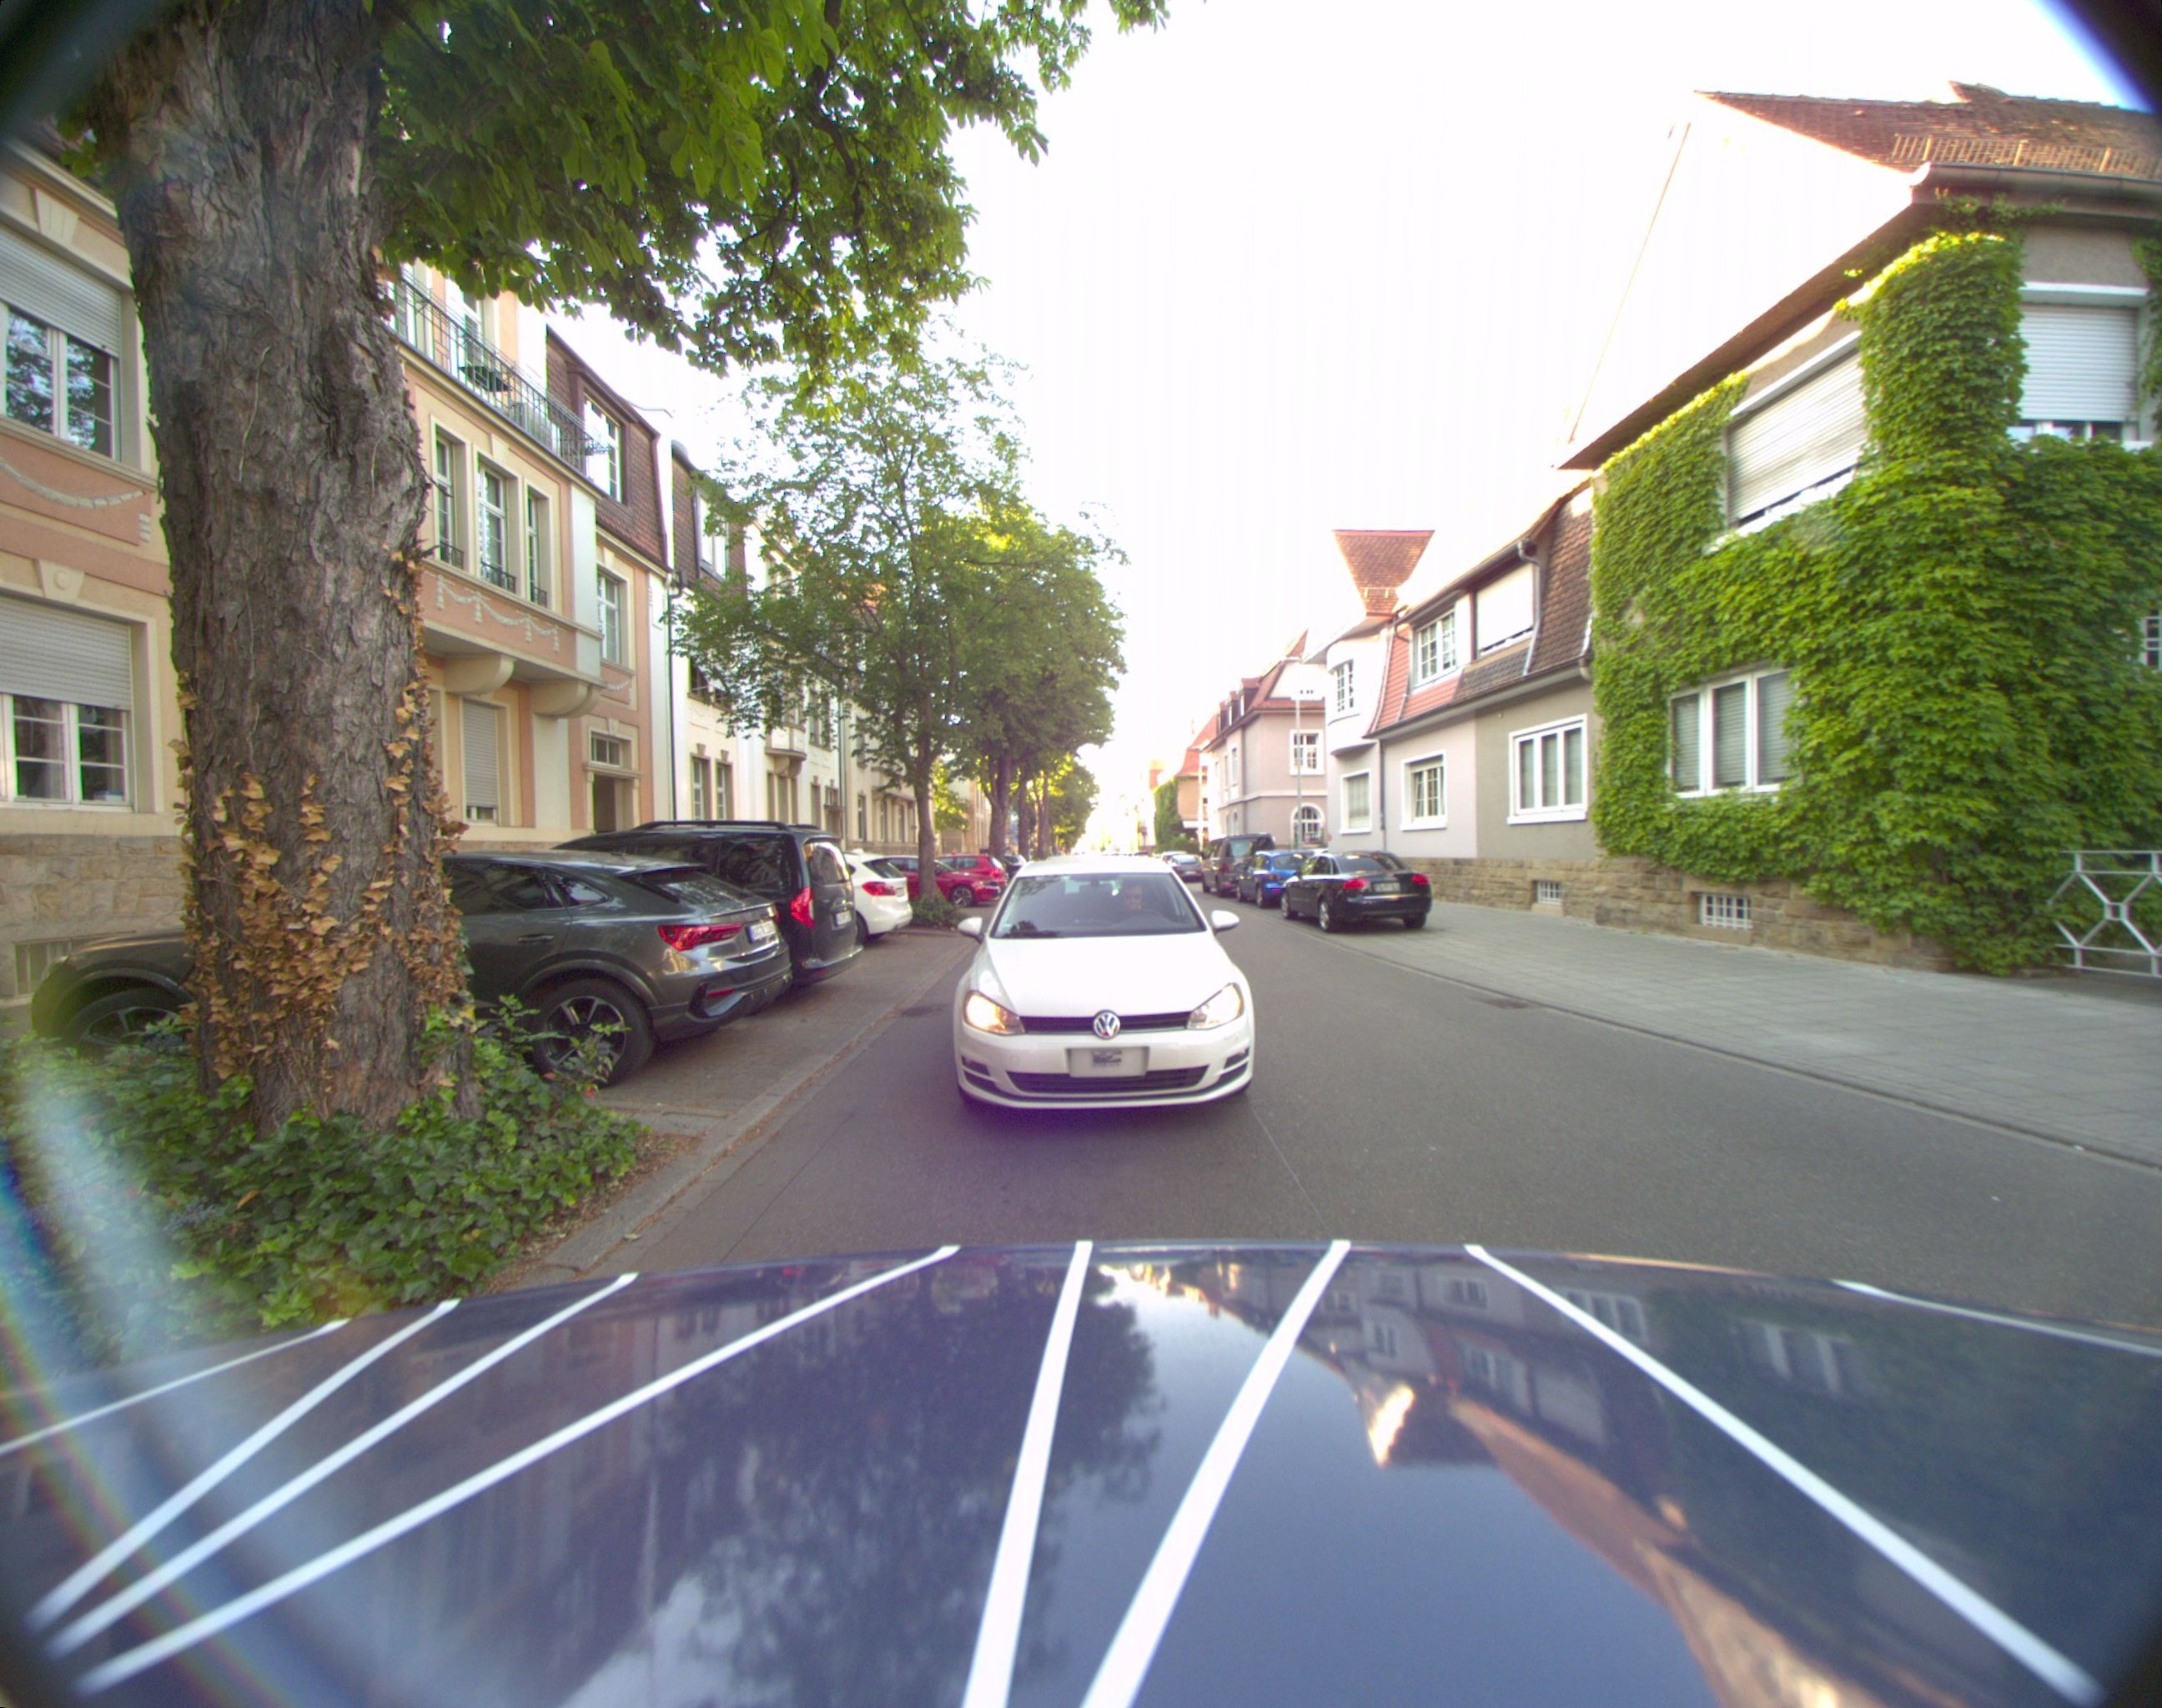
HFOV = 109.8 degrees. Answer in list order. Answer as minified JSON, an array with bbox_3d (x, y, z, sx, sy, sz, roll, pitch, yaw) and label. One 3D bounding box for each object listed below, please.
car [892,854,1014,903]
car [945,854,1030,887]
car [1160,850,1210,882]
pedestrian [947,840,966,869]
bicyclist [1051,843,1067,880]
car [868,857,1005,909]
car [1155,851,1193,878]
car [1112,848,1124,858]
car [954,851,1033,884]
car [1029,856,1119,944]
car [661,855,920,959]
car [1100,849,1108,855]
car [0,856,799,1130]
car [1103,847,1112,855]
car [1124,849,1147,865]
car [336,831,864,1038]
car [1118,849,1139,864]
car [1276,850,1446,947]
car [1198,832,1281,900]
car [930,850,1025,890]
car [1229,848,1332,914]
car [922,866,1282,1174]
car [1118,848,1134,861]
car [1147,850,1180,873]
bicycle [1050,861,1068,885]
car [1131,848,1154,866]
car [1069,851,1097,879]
[{"bbox_3d":[-4.048,0.768,24.329,3.622,1.456,1.537,1,1,0],"label":"car"},{"bbox_3d":[-4.144,0.726,34.097,3.622,1.395,1.537,0,1,0],"label":"car"},{"bbox_3d":[4.977,0.556,36.803,1.719,1.363,4.334,-3,0,0],"label":"car"},{"bbox_3d":[-8.772,0.064,53.509,1.189,2.002,0.931,1,1,0],"label":"pedestrian"},{"bbox_3d":[-1.057,0.342,36.992,0.648,1.765,0.830,-2,1,1],"label":"bicyclist"},{"bbox_3d":[-4.089,0.801,21.812,3.622,1.395,1.537,1,1,0],"label":"car"},{"bbox_3d":[5.120,0.542,42.192,1.541,1.363,3.945,-3,0,0],"label":"car"},{"bbox_3d":[5.674,-0.183,115.913,1.643,1.461,3.689,-3,0,0],"label":"car"},{"bbox_3d":[-4.204,0.655,36.837,3.622,1.555,1.537,0,1,0],"label":"car"},{"bbox_3d":[-0.095,0.829,15.704,1.600,1.546,4.000,1,0,1],"label":"car"},{"bbox_3d":[-4.571,0.819,12.339,3.623,1.541,1.537,1,1,-4],"label":"car"},{"bbox_3d":[5.148,-0.449,173.329,1.643,1.461,3.689,-3,0,0],"label":"car"},{"bbox_3d":[-4.384,0.841,5.402,4.173,1.583,1.594,1,1,-4],"label":"car"},{"bbox_3d":[5.232,-0.538,149.440,1.643,1.461,3.689,-3,0,0],"label":"car"},{"bbox_3d":[5.397,0.244,75.488,1.643,1.461,3.688,-3,0,-4],"label":"car"},{"bbox_3d":[-4.465,0.715,7.583,4.173,1.816,1.594,1,1,-4],"label":"car"},{"bbox_3d":[5.062,0.211,80.885,1.643,1.461,3.688,-3,0,-4],"label":"car"},{"bbox_3d":[5.098,0.712,14.460,1.751,1.421,4.023,-4,1,1],"label":"car"},{"bbox_3d":[5.149,0.319,25.249,1.719,1.961,4.310,-4,1,0],"label":"car"},{"bbox_3d":[-4.176,0.636,30.933,3.622,1.555,1.537,0,1,0],"label":"car"},{"bbox_3d":[5.224,0.644,20.411,1.611,1.455,4.023,-4,1,0],"label":"car"},{"bbox_3d":[0.071,0.885,5.925,1.799,1.420,4.023,-2,0,-1],"label":"car"},{"bbox_3d":[5.364,0.052,91.095,1.643,1.461,3.689,-3,0,-1],"label":"car"},{"bbox_3d":[5.440,0.464,50.575,1.719,1.363,3.945,-3,0,0],"label":"car"},{"bbox_3d":[-1.033,0.902,36.680,0.744,1.111,2.013,-2,0,1],"label":"bicycle"},{"bbox_3d":[5.493,0.279,68.242,1.643,1.461,3.945,-3,0,0],"label":"car"},{"bbox_3d":[0.162,0.630,44.794,1.560,1.546,3.738,1,0,1],"label":"car"}]
